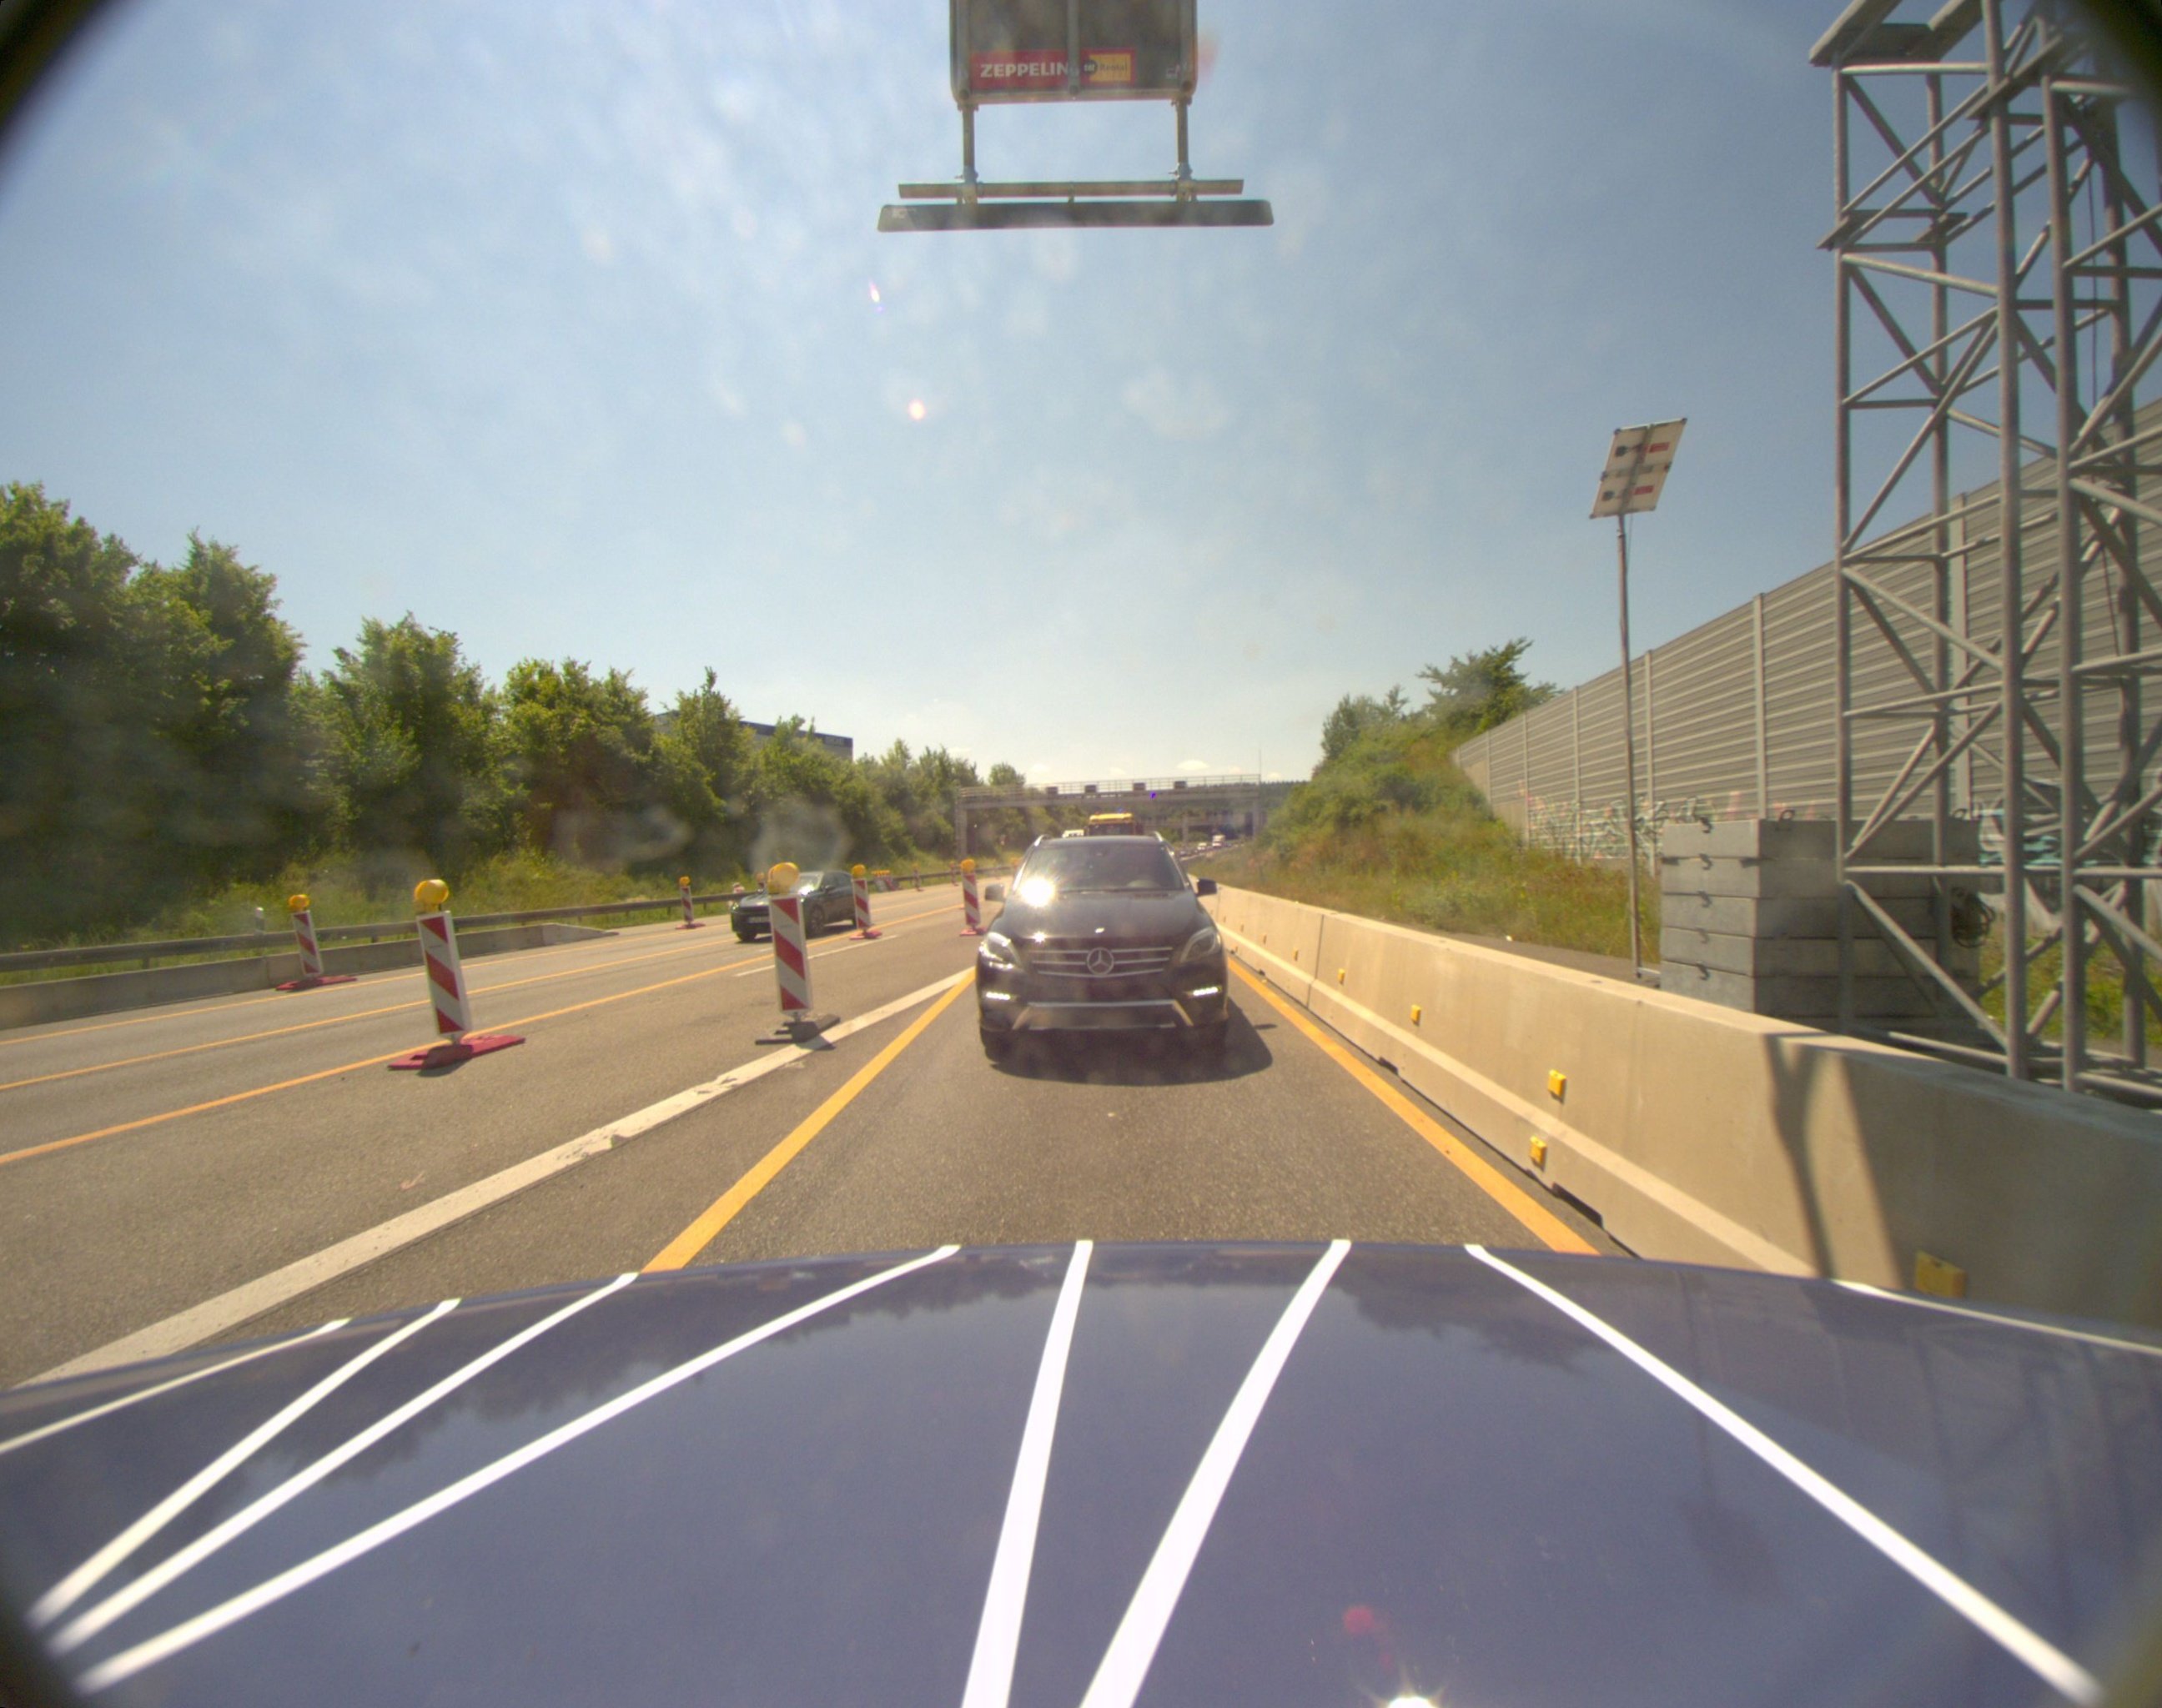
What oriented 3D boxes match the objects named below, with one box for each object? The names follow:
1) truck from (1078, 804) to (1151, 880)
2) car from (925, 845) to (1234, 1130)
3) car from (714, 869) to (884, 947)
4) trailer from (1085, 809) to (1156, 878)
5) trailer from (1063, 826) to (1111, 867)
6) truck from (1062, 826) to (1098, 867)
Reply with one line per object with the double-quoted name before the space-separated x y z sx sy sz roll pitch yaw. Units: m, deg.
"truck" 1.977 -0.577 41.697 3.228 3.639 7.087 -3 0 7
"car" 0.257 0.810 6.866 1.818 1.685 4.495 -3 1 7
"car" -6.652 1.220 18.619 1.998 1.477 4.679 -3 0 5
"trailer" 3.024 -0.577 50.621 3.235 3.645 17.432 -3 0 7
"trailer" 0.850 -0.790 81.958 2.545 3.929 13.879 -3 0 11
"truck" -0.036 -0.773 77.235 2.531 3.927 5.603 -3 0 10
